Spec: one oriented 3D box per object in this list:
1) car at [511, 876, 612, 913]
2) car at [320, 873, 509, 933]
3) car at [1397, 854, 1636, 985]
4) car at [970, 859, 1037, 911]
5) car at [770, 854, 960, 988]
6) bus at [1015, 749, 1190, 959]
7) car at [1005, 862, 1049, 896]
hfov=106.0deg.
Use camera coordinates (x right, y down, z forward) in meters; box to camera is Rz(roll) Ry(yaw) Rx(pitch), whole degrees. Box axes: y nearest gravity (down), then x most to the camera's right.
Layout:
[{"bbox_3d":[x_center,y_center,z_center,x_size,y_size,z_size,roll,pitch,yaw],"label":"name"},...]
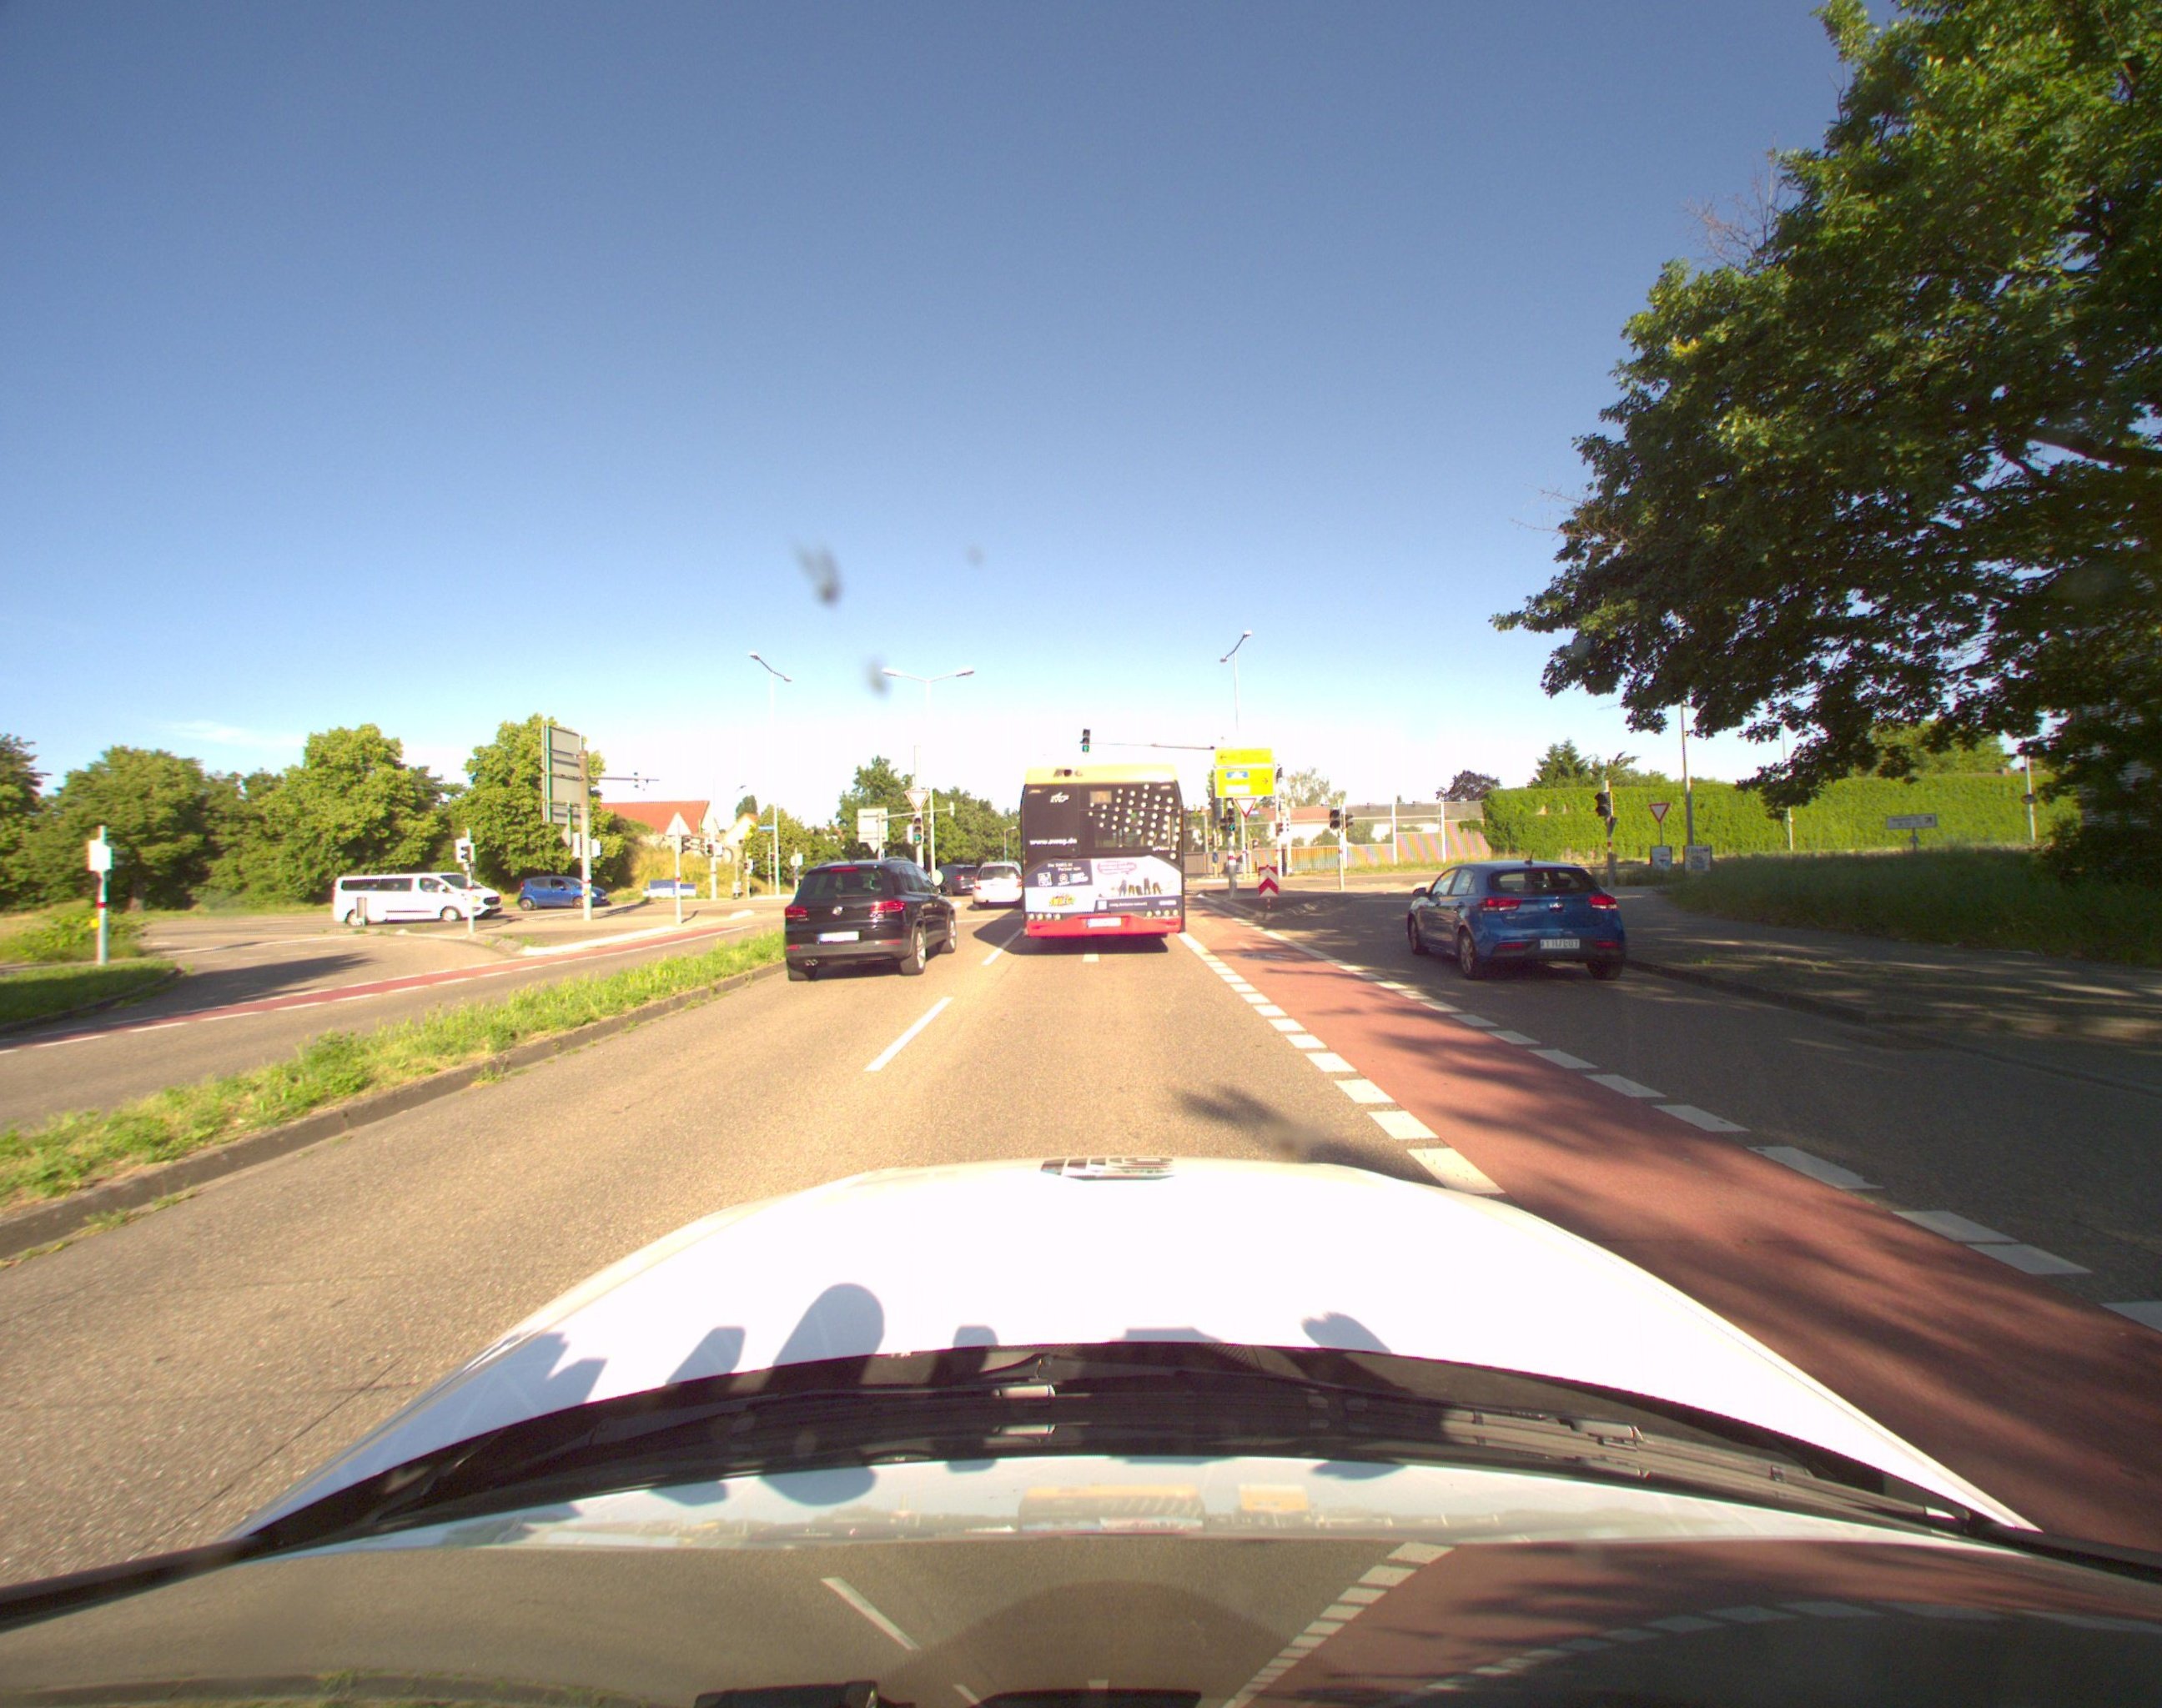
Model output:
[{"bbox_3d":[-24.696,1.918,38.823,3.577,1.561,1.747,-2,-1,-5],"label":"car"},{"bbox_3d":[-25.749,1.843,31.650,5.375,2.118,2.178,-1,-1,-4],"label":"car"},{"bbox_3d":[5.676,0.762,11.185,1.640,1.469,3.950,-1,-1,8],"label":"car"},{"bbox_3d":[-2.611,1.024,28.314,1.755,1.589,4.001,-3,-1,1],"label":"car"},{"bbox_3d":[-3.124,0.897,12.657,1.766,1.653,3.999,-3,-1,0],"label":"car"},{"bbox_3d":[0.558,0.019,18.352,2.632,3.167,11.867,-1,0,2],"label":"bus"},{"bbox_3d":[-2.510,1.143,38.722,1.686,1.458,3.751,-3,-1,1],"label":"car"}]
